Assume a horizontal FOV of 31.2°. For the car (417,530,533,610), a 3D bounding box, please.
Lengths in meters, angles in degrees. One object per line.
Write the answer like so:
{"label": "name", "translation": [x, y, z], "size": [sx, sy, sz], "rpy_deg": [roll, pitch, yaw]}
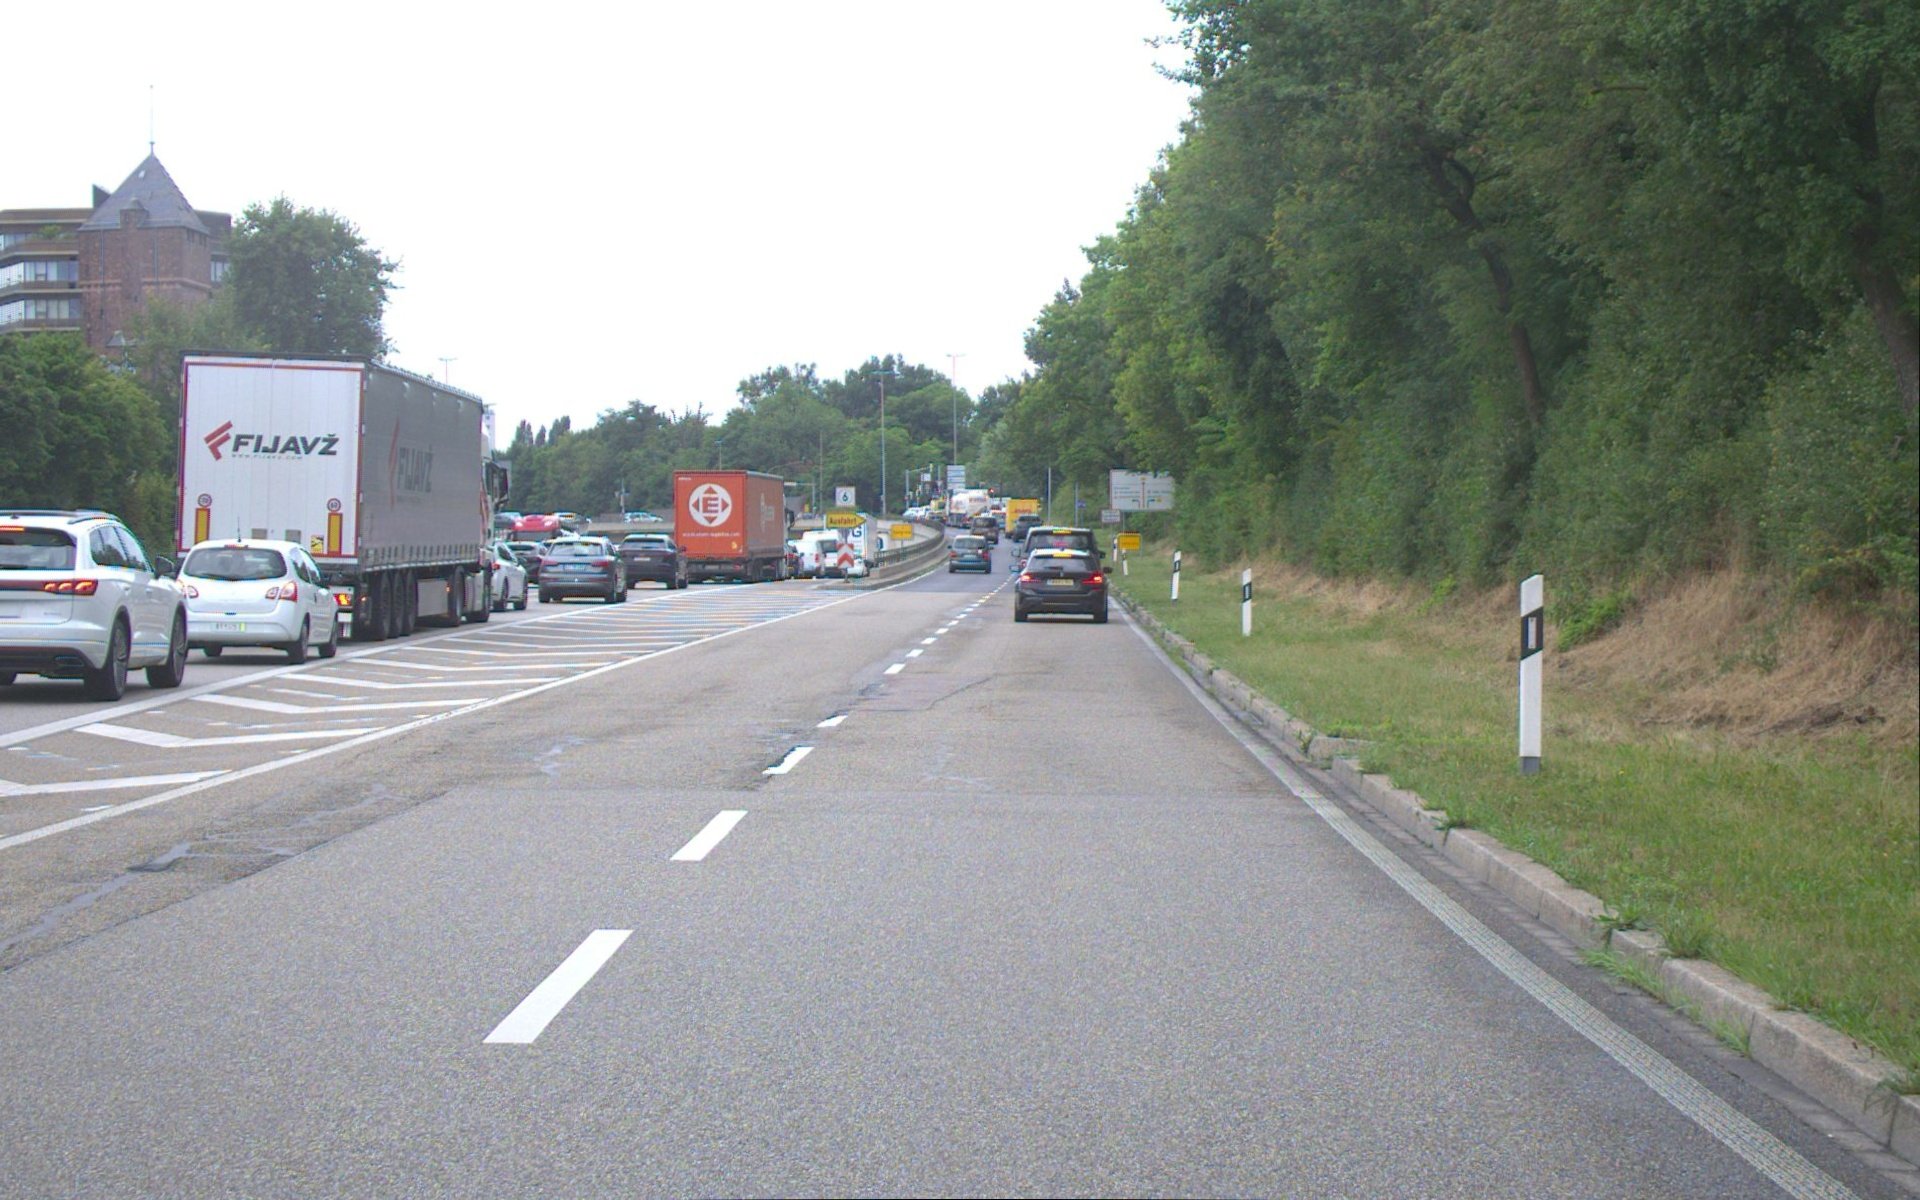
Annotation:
{"label": "car", "translation": [-10.180, -0.624, 72.411], "size": [1.800, 1.598, 4.258], "rpy_deg": [1, 0, 0]}

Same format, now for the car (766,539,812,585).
{"label": "car", "translation": [-7.532, -1.669, 151.968], "size": [1.614, 1.941, 3.704], "rpy_deg": [1, 0, 3]}

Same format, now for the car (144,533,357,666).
{"label": "car", "translation": [-8.582, -0.029, 41.890], "size": [1.764, 1.473, 4.089], "rpy_deg": [2, 1, -1]}

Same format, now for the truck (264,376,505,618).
{"label": "truck", "translation": [-9.974, -1.727, 60.332], "size": [3.198, 3.933, 7.074], "rpy_deg": [1, 0, -2]}

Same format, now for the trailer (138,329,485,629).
{"label": "trailer", "translation": [-9.748, -1.696, 53.464], "size": [3.298, 4.022, 13.099], "rpy_deg": [1, 0, -2]}

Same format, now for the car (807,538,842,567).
{"label": "car", "translation": [-6.995, -2.474, 177.514], "size": [1.777, 1.477, 4.001], "rpy_deg": [0, 1, -3]}

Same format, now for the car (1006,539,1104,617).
{"label": "car", "translation": [1.843, -0.456, 67.624], "size": [1.825, 1.477, 4.000], "rpy_deg": [0, 1, 0]}

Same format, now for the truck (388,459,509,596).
{"label": "truck", "translation": [-16.387, -2.260, 110.855], "size": [2.738, 4.124, 10.698], "rpy_deg": [1, 0, -3]}

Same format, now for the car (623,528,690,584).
{"label": "car", "translation": [-9.390, -1.355, 106.538], "size": [1.717, 1.678, 4.000], "rpy_deg": [1, 0, 0]}

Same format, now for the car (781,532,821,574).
{"label": "car", "translation": [-7.517, -2.223, 162.468], "size": [1.614, 1.941, 3.705], "rpy_deg": [1, 0, 1]}

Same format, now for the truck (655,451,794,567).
{"label": "truck", "translation": [-8.585, -3.336, 127.362], "size": [3.490, 4.059, 13.591], "rpy_deg": [0, 1, 3]}

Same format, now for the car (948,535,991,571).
{"label": "car", "translation": [0.391, -2.026, 146.675], "size": [1.825, 1.477, 4.000], "rpy_deg": [0, 1, 0]}

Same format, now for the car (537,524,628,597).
{"label": "car", "translation": [-9.010, -0.939, 82.360], "size": [1.717, 1.678, 4.000], "rpy_deg": [1, 0, 0]}

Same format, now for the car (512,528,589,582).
{"label": "car", "translation": [-12.829, -1.398, 107.897], "size": [1.859, 1.612, 4.000], "rpy_deg": [1, 0, 1]}

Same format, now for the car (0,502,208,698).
{"label": "car", "translation": [-8.642, -0.034, 32.611], "size": [1.956, 1.689, 4.866], "rpy_deg": [2, 0, -1]}

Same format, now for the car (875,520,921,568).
{"label": "car", "translation": [-2.648, -2.378, 146.356], "size": [1.951, 2.007, 4.000], "rpy_deg": [0, 1, -1]}
